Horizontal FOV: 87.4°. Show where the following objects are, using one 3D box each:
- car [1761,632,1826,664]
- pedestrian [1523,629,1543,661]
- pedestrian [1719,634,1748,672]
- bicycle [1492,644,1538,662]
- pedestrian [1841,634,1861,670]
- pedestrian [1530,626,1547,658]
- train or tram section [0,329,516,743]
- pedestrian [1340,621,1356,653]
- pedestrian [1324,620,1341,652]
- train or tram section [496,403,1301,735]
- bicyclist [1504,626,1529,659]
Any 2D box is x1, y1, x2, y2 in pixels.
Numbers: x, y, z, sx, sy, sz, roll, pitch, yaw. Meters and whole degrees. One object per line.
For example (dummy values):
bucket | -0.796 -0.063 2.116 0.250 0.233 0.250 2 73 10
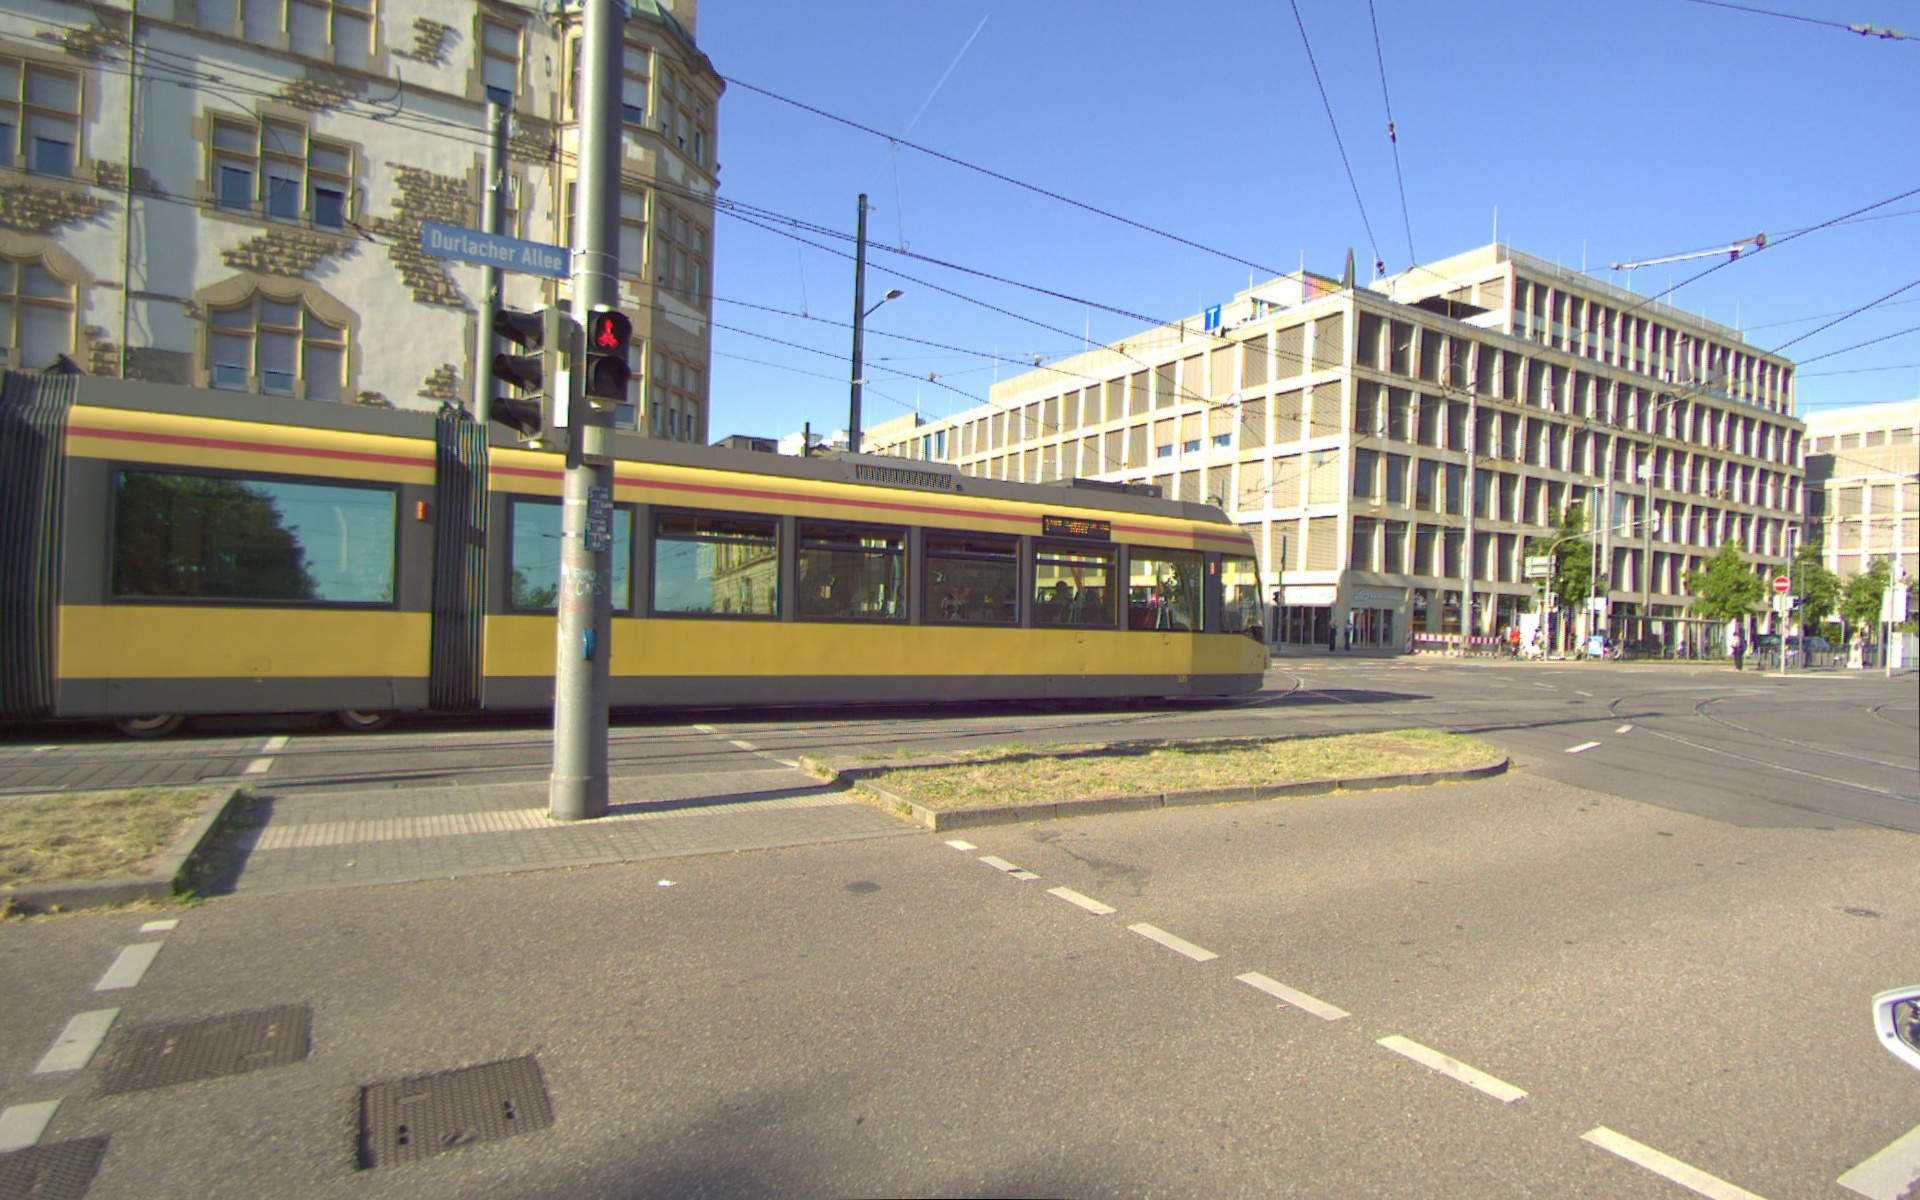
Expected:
car | 50.446 2.900 60.789 4.066 1.836 1.832 2 -1 -31
pedestrian | 27.735 2.172 48.581 0.574 1.546 0.593 1 0 -22
pedestrian | 32.486 2.228 42.211 0.616 1.552 0.754 1 0 -26
bicycle | 26.715 2.552 48.389 0.611 0.786 1.971 1 -1 -21
pedestrian | 41.946 2.449 47.302 0.609 1.686 0.513 1 0 35
pedestrian | 28.768 2.082 49.923 0.584 1.595 0.583 1 0 17
train or tram section | -11.045 -0.622 8.531 13.050 3.535 2.799 2 -1 -31
pedestrian | 19.965 1.897 51.661 0.526 1.658 0.587 1 0 -9
pedestrian | 19.294 1.858 52.014 0.527 1.658 0.587 1 0 -14
train or tram section | -0.177 -0.166 14.986 12.012 3.535 2.799 2 -1 -31
bicyclist | 26.727 2.055 48.272 0.773 1.546 0.703 1 0 -22
